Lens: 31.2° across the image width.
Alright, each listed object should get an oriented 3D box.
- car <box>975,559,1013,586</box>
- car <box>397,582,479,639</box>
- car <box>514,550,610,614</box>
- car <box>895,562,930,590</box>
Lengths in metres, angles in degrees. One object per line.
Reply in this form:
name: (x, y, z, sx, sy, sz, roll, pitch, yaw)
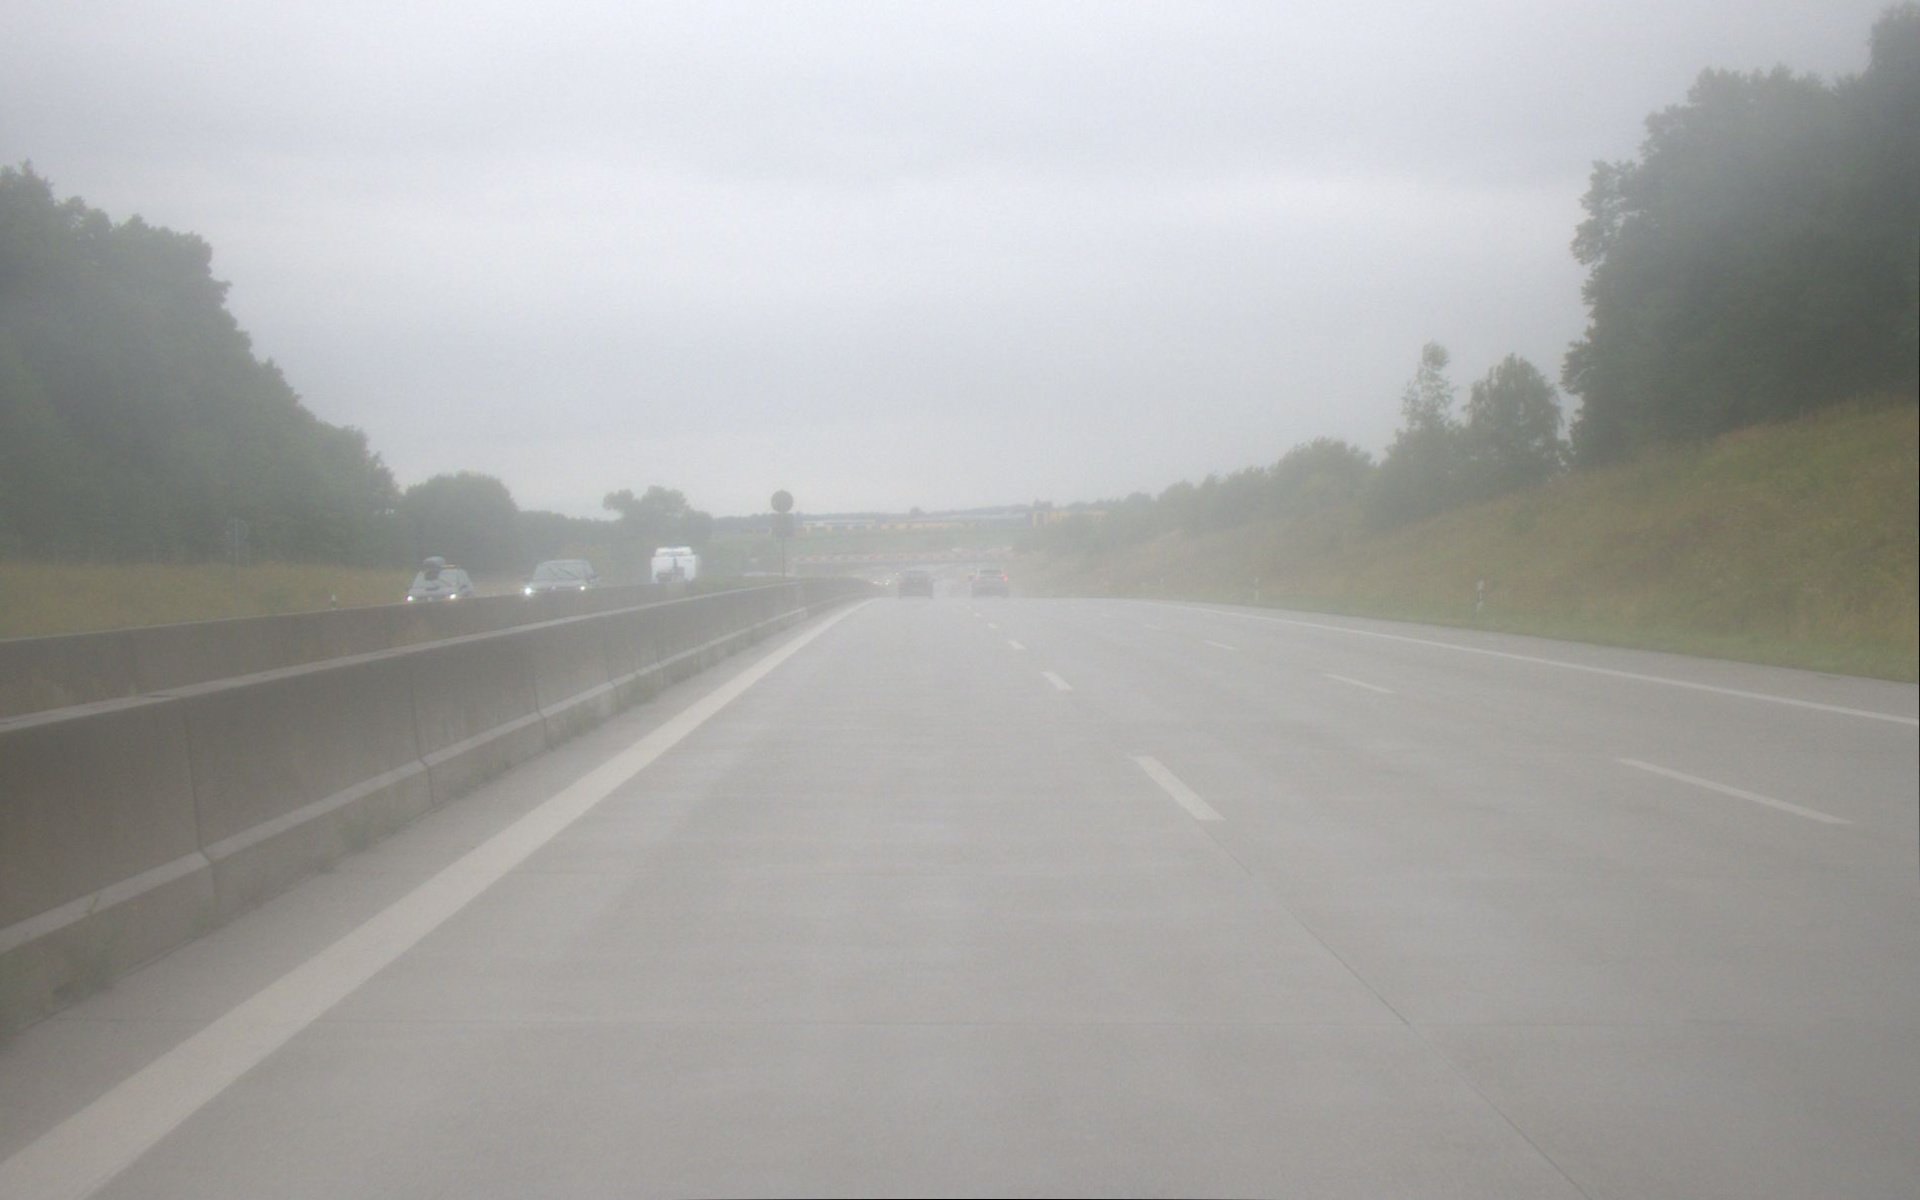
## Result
car: (1.735, -1.425, 177.297, 1.847, 1.326, 4.430, 0, 2, 0)
car: (-17.331, 0.336, 114.354, 2.060, 1.796, 4.853, -1, 1, -2)
car: (-10.641, -0.501, 92.159, 1.968, 1.604, 4.852, -1, 1, 0)
car: (-2.365, -1.199, 171.830, 1.729, 1.326, 4.430, 0, 2, -1)
